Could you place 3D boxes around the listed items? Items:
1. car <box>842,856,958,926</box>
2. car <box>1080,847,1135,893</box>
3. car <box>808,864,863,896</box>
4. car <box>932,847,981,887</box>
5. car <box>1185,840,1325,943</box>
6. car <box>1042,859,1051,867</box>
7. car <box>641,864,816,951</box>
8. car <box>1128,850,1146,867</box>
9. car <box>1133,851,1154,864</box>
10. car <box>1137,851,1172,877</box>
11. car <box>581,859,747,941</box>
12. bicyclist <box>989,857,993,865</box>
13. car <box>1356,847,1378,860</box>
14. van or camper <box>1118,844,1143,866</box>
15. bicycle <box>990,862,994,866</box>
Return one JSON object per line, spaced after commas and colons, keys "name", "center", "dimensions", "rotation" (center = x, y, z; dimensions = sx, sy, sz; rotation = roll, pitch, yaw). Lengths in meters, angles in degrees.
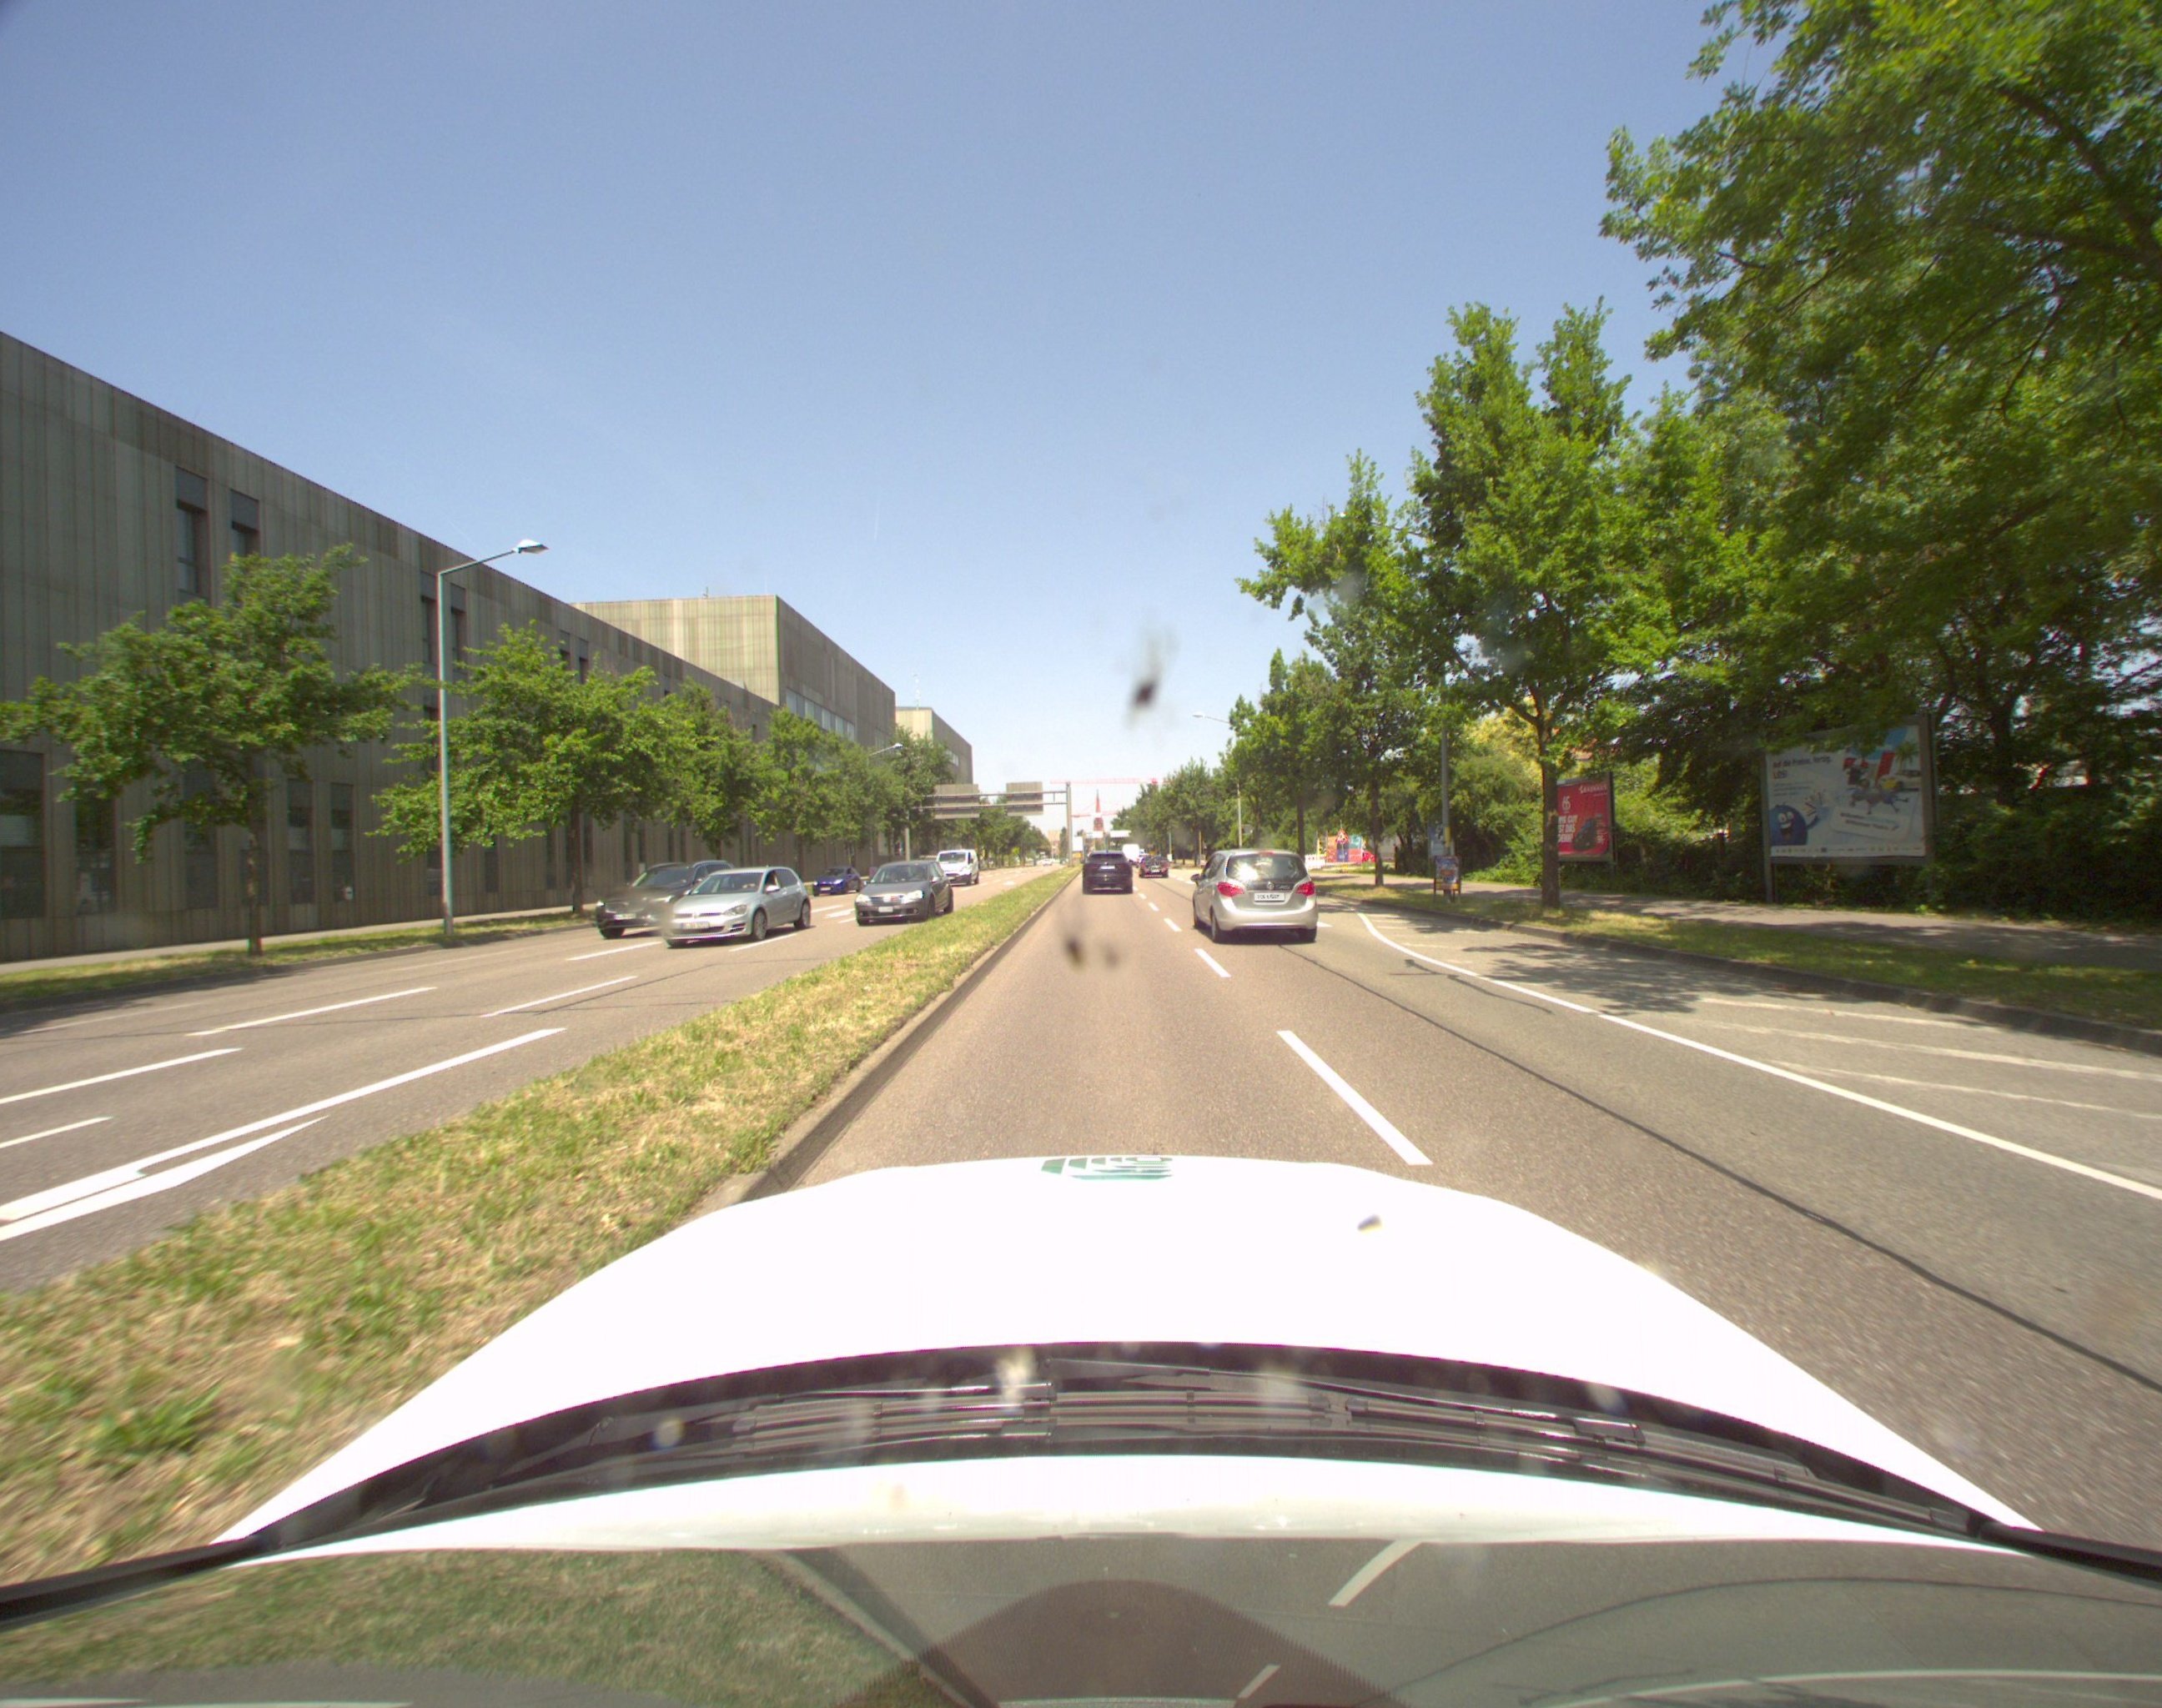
{"name": "car", "center": [-4.317, 0.819, 20.082], "dimensions": [1.804, 1.466, 4.058], "rotation": [-3, 0, 1]}
{"name": "car", "center": [1.071, 0.591, 32.066], "dimensions": [1.990, 1.689, 4.036], "rotation": [-1, 0, 3]}
{"name": "car", "center": [-12.679, 1.307, 42.333], "dimensions": [1.616, 1.456, 4.016], "rotation": [-2, 0, -1]}
{"name": "car", "center": [-6.819, 0.705, 45.115], "dimensions": [1.904, 1.993, 4.896], "rotation": [-3, 0, -1]}
{"name": "car", "center": [3.044, 0.604, 15.035], "dimensions": [1.786, 1.612, 3.891], "rotation": [-1, 0, 1]}
{"name": "car", "center": [-7.332, 1.877, 172.857], "dimensions": [1.805, 1.427, 4.357], "rotation": [-3, 0, -1]}
{"name": "car", "center": [-7.130, 1.011, 16.986], "dimensions": [1.760, 1.460, 4.144], "rotation": [-3, 0, 0]}
{"name": "car", "center": [7.036, 0.549, 102.791], "dimensions": [1.986, 2.013, 4.002], "rotation": [-2, 0, 2]}
{"name": "car", "center": [6.471, 0.384, 85.146], "dimensions": [1.650, 1.356, 4.456], "rotation": [-2, -1, -3]}
{"name": "car", "center": [4.593, 0.624, 51.649], "dimensions": [2.006, 1.517, 4.464], "rotation": [-2, -1, 3]}
{"name": "car", "center": [-10.455, 1.067, 20.867], "dimensions": [1.805, 1.747, 4.644], "rotation": [-3, 0, -1]}
{"name": "bicyclist", "center": [-17.856, 1.439, 162.375], "dimensions": [0.620, 1.489, 0.758], "rotation": [-2, -1, 4]}
{"name": "car", "center": [28.721, -0.070, 81.801], "dimensions": [1.372, 1.187, 3.310], "rotation": [-2, 0, 8]}
{"name": "van or camper", "center": [5.630, 0.130, 92.982], "dimensions": [2.485, 2.291, 4.920], "rotation": [-2, -1, 0]}
{"name": "bicycle", "center": [-17.809, 1.978, 162.656], "dimensions": [0.479, 0.715, 1.852], "rotation": [-2, -1, 4]}
